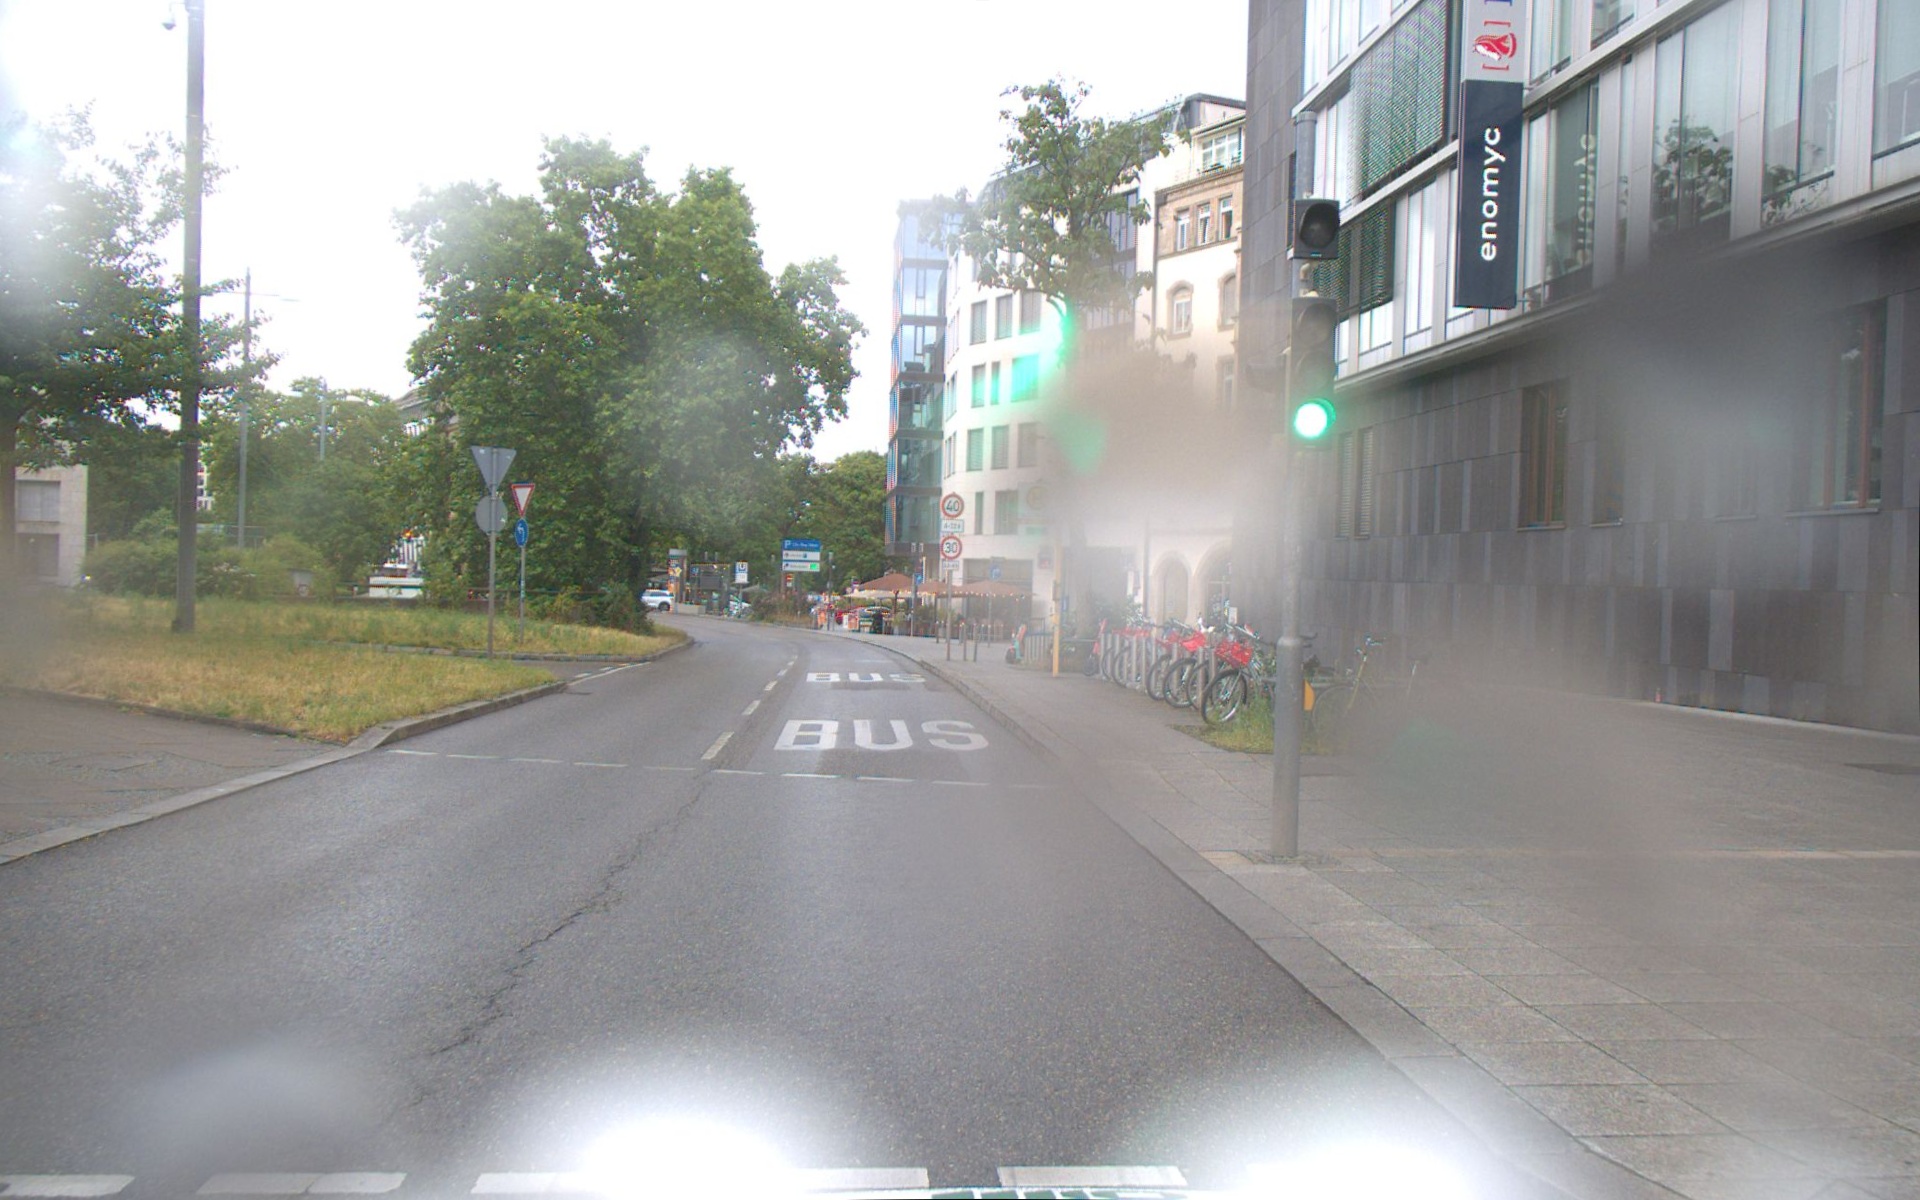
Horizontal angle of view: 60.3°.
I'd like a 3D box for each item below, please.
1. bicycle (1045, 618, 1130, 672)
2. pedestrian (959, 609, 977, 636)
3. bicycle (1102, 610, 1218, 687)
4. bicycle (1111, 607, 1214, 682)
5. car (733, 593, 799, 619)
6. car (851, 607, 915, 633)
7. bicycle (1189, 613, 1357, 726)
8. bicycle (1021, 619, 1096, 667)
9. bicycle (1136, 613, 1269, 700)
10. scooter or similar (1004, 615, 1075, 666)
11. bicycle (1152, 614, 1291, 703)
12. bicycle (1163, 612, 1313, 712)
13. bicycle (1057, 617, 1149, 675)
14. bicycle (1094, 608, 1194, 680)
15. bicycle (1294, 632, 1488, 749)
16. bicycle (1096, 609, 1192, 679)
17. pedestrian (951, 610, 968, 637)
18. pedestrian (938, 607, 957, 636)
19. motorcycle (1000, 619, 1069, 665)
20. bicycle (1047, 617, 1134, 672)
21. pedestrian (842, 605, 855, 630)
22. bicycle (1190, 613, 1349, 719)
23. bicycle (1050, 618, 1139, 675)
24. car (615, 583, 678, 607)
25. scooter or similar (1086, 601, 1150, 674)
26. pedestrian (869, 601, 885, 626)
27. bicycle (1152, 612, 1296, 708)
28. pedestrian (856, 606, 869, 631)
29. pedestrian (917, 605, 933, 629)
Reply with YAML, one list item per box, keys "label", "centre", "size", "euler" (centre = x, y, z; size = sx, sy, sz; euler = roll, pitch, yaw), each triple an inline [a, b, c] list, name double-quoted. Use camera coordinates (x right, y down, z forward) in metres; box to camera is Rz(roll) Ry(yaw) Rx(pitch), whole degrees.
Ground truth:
- label: "bicycle"
  centre: [2.880, 1.013, 37.455]
  size: [1.762, 1.127, 0.668]
  euler: [3, -2, -10]
- label: "pedestrian"
  centre: [0.410, 1.180, 85.602]
  size: [0.620, 1.349, 0.630]
  euler: [4, -1, -29]
- label: "bicycle"
  centre: [3.130, 0.763, 25.967]
  size: [1.675, 1.160, 0.687]
  euler: [2, -2, -11]
- label: "bicycle"
  centre: [3.276, 0.718, 26.790]
  size: [1.507, 1.160, 0.687]
  euler: [2, -2, -11]
- label: "car"
  centre: [-14.230, 0.438, 121.505]
  size: [4.643, 1.720, 2.003]
  euler: [3, 0, -5]
- label: "car"
  centre: [-5.765, 1.515, 123.980]
  size: [4.643, 1.720, 2.003]
  euler: [3, 0, -5]
- label: "bicycle"
  centre: [3.448, 0.762, 18.262]
  size: [1.698, 1.204, 0.687]
  euler: [1, 0, -11]
- label: "bicycle"
  centre: [2.517, 1.102, 42.112]
  size: [1.762, 1.127, 0.668]
  euler: [3, -2, -10]
- label: "bicycle"
  centre: [3.344, 0.778, 22.855]
  size: [1.698, 1.160, 0.687]
  euler: [1, 0, -11]
- label: "scooter or similar"
  centre: [2.110, 1.067, 44.081]
  size: [1.759, 1.265, 0.594]
  euler: [3, -2, -10]
- label: "bicycle"
  centre: [3.485, 0.780, 22.109]
  size: [1.698, 1.160, 0.687]
  euler: [1, 0, -11]
- label: "bicycle"
  centre: [3.442, 0.761, 20.496]
  size: [1.698, 1.204, 0.687]
  euler: [1, 0, -11]
- label: "bicycle"
  centre: [2.926, 0.945, 33.924]
  size: [1.761, 1.087, 0.555]
  euler: [3, -2, -9]
- label: "bicycle"
  centre: [3.062, 0.731, 27.543]
  size: [1.507, 1.160, 0.687]
  euler: [2, -2, -11]
- label: "bicycle"
  centre: [4.178, 0.867, 16.064]
  size: [1.698, 1.089, 0.687]
  euler: [1, 0, -11]
- label: "bicycle"
  centre: [3.159, 0.753, 28.444]
  size: [1.507, 1.160, 0.661]
  euler: [2, -2, -11]
- label: "pedestrian"
  centre: [-0.028, 1.225, 86.907]
  size: [0.620, 1.349, 0.630]
  euler: [4, -1, -29]
- label: "pedestrian"
  centre: [-0.598, 1.023, 80.285]
  size: [0.759, 1.349, 0.634]
  euler: [4, -1, -9]
- label: "motorcycle"
  centre: [2.030, 1.143, 45.060]
  size: [1.759, 1.160, 0.594]
  euler: [3, -2, -10]
- label: "bicycle"
  centre: [2.799, 0.947, 35.560]
  size: [1.761, 1.087, 0.555]
  euler: [3, -2, -9]
- label: "pedestrian"
  centre: [-6.261, 0.990, 93.062]
  size: [0.595, 1.349, 0.566]
  euler: [4, -1, -9]
- label: "bicycle"
  centre: [3.626, 0.762, 19.416]
  size: [1.698, 1.204, 0.687]
  euler: [1, 0, -11]
- label: "bicycle"
  centre: [2.822, 0.976, 34.759]
  size: [1.761, 1.087, 0.555]
  euler: [3, -2, -9]
- label: "car"
  centre: [-24.008, -0.390, 126.758]
  size: [4.239, 1.695, 1.954]
  euler: [2, -1, 6]
- label: "scooter or similar"
  centre: [2.826, 0.679, 29.581]
  size: [1.086, 1.280, 0.302]
  euler: [2, -2, -12]
- label: "pedestrian"
  centre: [-4.770, 0.778, 95.085]
  size: [0.802, 1.349, 0.634]
  euler: [4, -1, -9]
- label: "bicycle"
  centre: [3.395, 0.764, 21.295]
  size: [1.698, 1.204, 0.687]
  euler: [1, 0, -11]
- label: "pedestrian"
  centre: [-5.495, 1.048, 93.176]
  size: [0.595, 1.349, 0.566]
  euler: [4, -1, -9]
- label: "pedestrian"
  centre: [-2.017, 0.976, 95.566]
  size: [0.802, 1.349, 0.634]
  euler: [4, -1, -9]
